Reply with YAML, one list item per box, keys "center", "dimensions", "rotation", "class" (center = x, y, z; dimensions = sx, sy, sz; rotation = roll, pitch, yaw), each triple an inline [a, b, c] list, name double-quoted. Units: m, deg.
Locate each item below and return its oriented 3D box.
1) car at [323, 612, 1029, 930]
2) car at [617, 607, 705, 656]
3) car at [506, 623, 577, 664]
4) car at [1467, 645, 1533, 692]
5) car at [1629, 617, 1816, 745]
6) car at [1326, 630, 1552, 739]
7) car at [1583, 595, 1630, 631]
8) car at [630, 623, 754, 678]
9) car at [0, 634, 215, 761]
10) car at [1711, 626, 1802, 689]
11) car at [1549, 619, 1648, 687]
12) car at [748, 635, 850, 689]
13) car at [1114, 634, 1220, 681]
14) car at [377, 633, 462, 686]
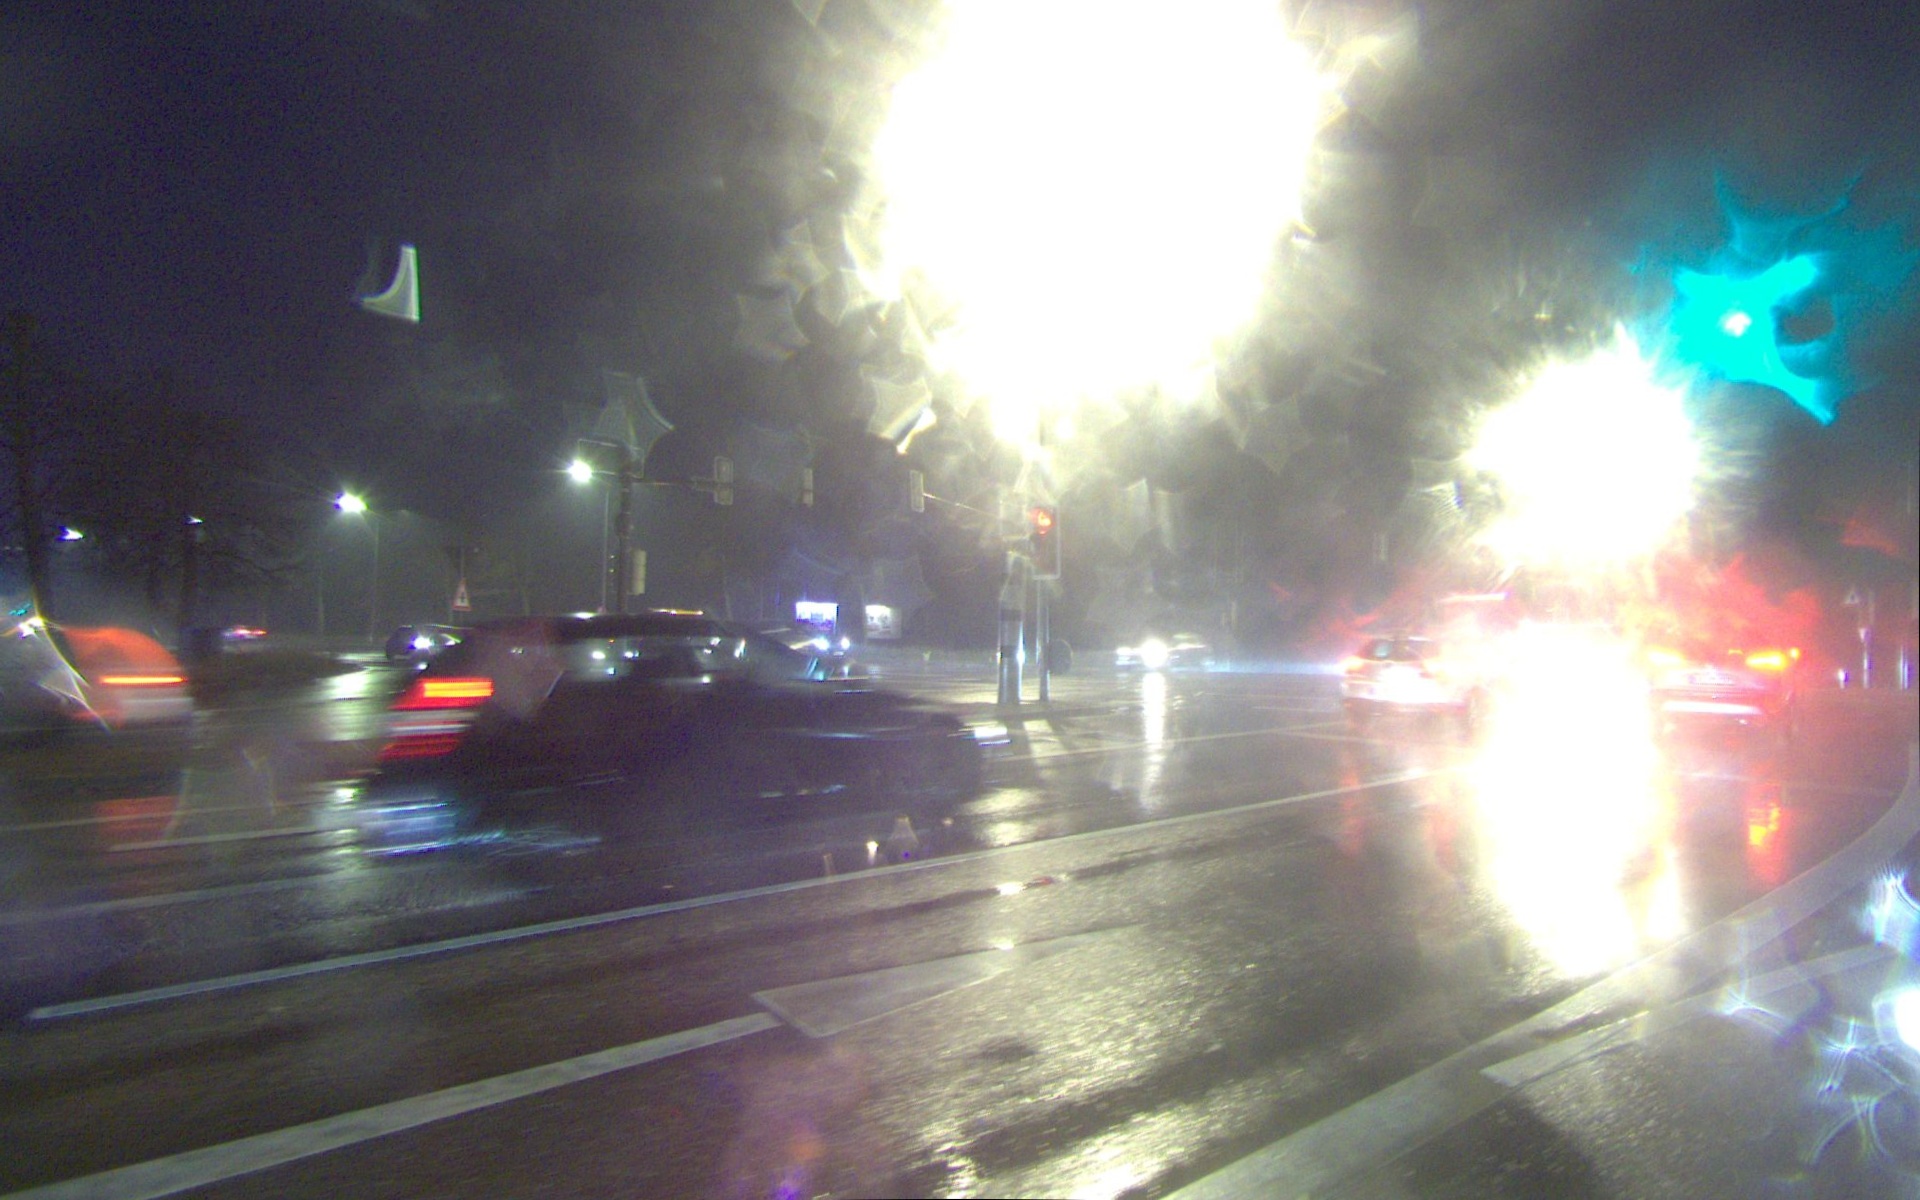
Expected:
- center: [-1.661, 0.830, 6.591]
  dimensions: [4.086, 1.426, 1.816]
  rotation: [1, -1, -39]
  class: "car"
- center: [-13.831, 1.437, 46.347]
  dimensions: [4.080, 2.051, 1.787]
  rotation: [1, -1, 37]
  class: "car"
- center: [-21.514, 2.206, 51.607]
  dimensions: [3.551, 1.964, 1.707]
  rotation: [1, -1, 36]
  class: "car"
- center: [25.522, 3.206, 47.424]
  dimensions: [1.794, 2.040, 3.977]
  rotation: [1, -1, 43]
  class: "car"
- center: [11.533, 1.132, 15.093]
  dimensions: [1.830, 1.612, 4.000]
  rotation: [1, -1, 43]
  class: "car"
- center: [7.458, 1.210, 15.464]
  dimensions: [4.260, 1.455, 1.720]
  rotation: [2, -3, -43]
  class: "car"
- center: [39.486, 0.815, 61.354]
  dimensions: [1.756, 2.106, 3.979]
  rotation: [2, -1, 42]
  class: "car"
- center: [-9.328, 1.715, 34.832]
  dimensions: [4.191, 1.654, 1.952]
  rotation: [1, -1, 37]
  class: "car"
- center: [-12.139, 1.216, 12.330]
  dimensions: [4.747, 1.481, 1.913]
  rotation: [2, -6, -39]
  class: "car"
- center: [24.302, 1.684, 30.774]
  dimensions: [1.803, 1.675, 4.466]
  rotation: [2, 0, 34]
  class: "car"
- center: [17.248, 1.405, 27.047]
  dimensions: [1.886, 1.680, 3.970]
  rotation: [0, -2, 38]
  class: "car"
- center: [-6.485, 2.427, 40.238]
  dimensions: [4.080, 1.878, 1.661]
  rotation: [1, -1, 37]
  class: "car"
- center: [7.319, 1.974, 35.274]
  dimensions: [1.705, 1.433, 4.003]
  rotation: [2, 0, 45]
  class: "car"
- center: [-24.216, 2.627, 44.980]
  dimensions: [3.931, 2.107, 1.659]
  rotation: [2, 0, 33]
  class: "car"
